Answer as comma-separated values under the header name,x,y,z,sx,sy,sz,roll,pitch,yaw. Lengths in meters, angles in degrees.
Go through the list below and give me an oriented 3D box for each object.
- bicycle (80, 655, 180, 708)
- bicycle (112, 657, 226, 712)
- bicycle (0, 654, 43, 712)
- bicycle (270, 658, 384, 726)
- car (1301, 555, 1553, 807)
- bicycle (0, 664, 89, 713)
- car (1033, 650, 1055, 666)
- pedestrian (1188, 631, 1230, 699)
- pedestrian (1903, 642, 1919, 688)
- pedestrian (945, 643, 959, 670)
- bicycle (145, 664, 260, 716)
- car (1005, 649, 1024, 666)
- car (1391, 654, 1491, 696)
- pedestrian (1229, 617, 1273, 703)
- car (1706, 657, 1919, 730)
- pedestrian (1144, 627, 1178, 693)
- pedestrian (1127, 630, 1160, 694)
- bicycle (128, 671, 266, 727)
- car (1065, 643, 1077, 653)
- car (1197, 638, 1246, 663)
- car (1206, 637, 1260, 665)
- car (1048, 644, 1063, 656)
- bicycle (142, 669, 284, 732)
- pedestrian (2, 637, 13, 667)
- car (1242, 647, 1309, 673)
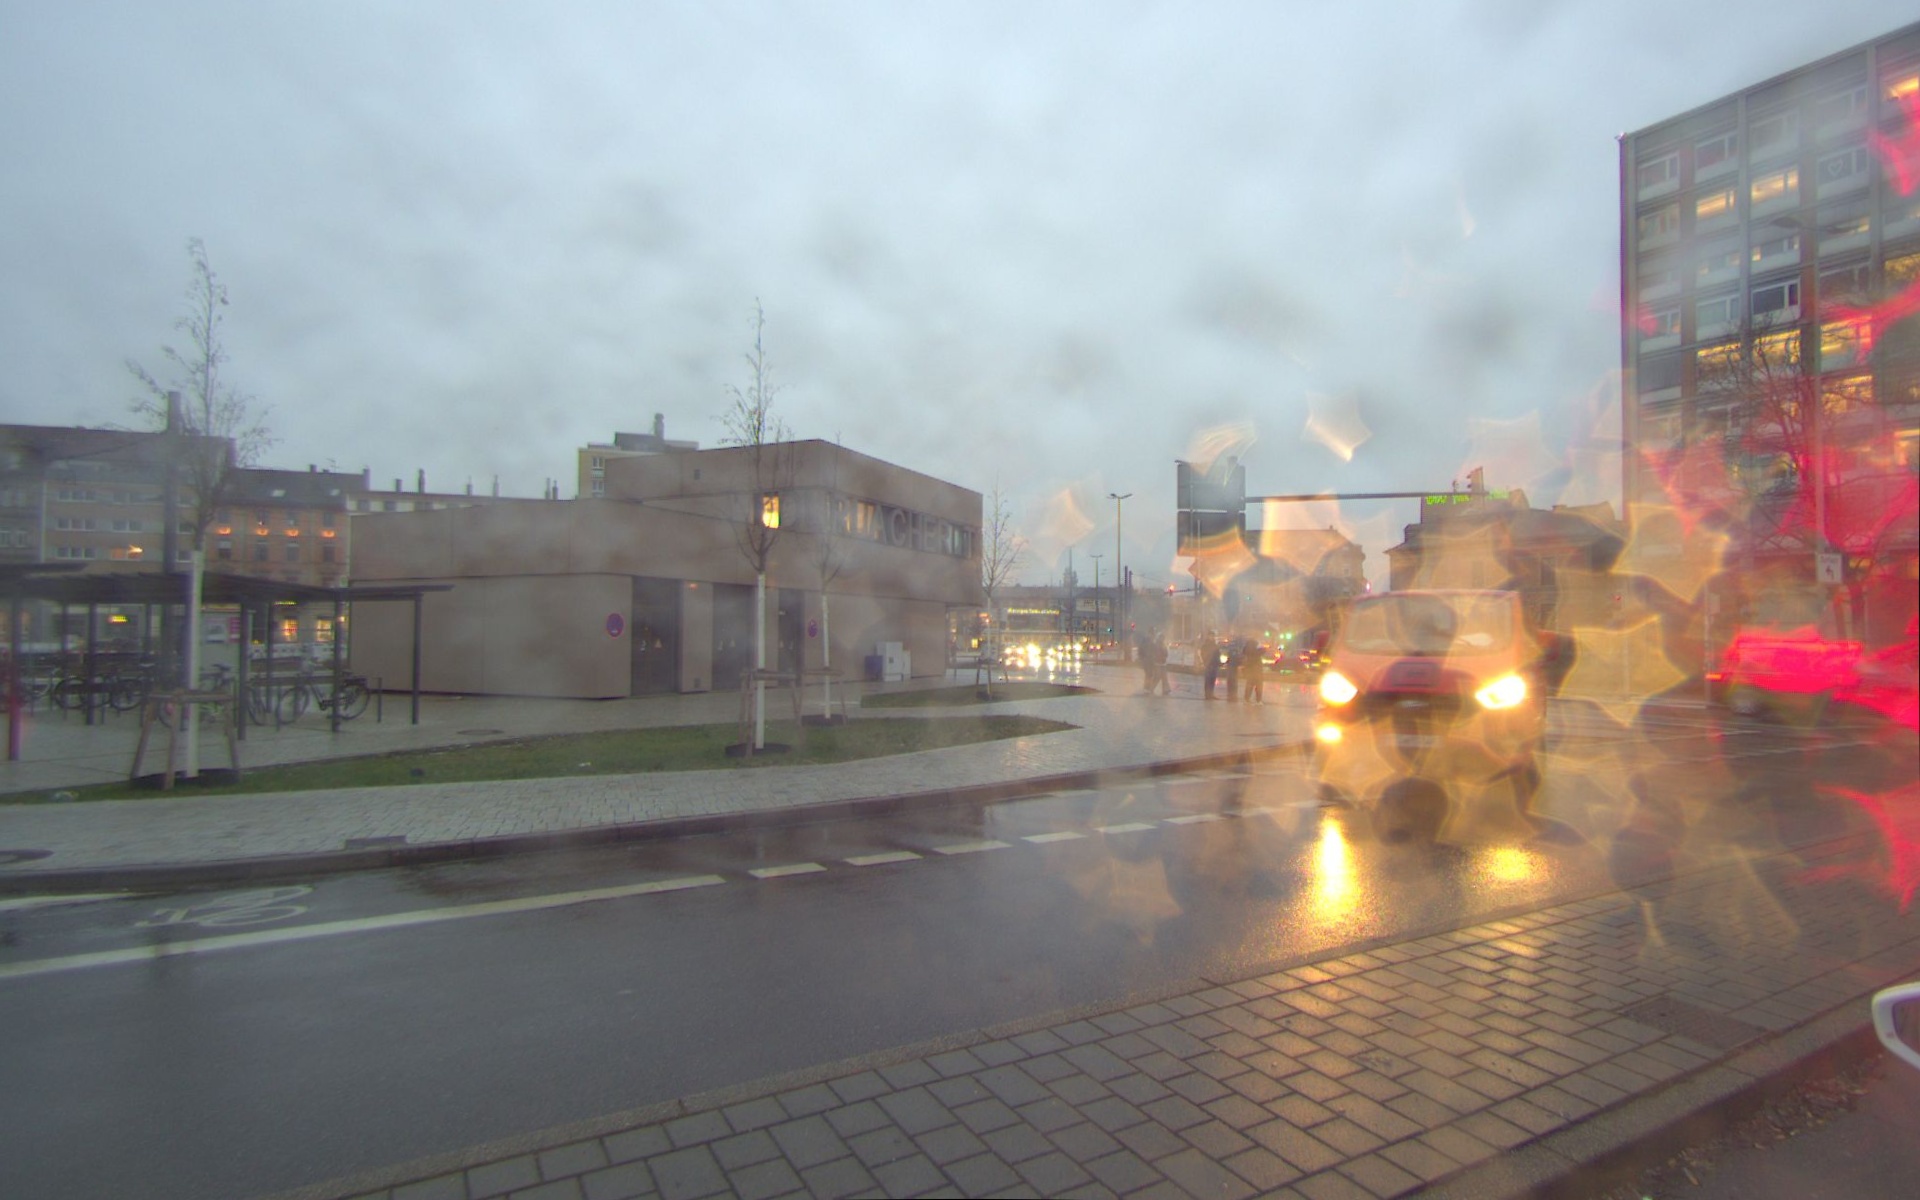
name,x,y,z,sx,sy,sz,roll,pitch,yaw
bicycle,-17.684,1.718,21.433,0.511,1.050,1.574,1,-2,19
bicycle,-16.527,1.744,21.039,0.466,1.087,1.830,1,-2,26
bicycle,-19.391,1.640,19.839,0.466,1.122,1.797,1,-2,29
bicycle,-11.747,1.683,18.719,0.605,1.172,1.755,1,-2,20
car,5.231,0.786,10.858,1.897,2.097,4.634,-2,-3,32
bicycle,-18.506,1.740,19.990,0.466,0.903,1.693,1,-2,24
car,8.332,5.770,99.833,1.775,1.496,4.594,1,-3,1
pedestrian,6.591,1.715,26.628,0.838,1.778,0.659,0,-2,-14
pedestrian,36.051,2.432,37.737,0.626,1.710,0.640,0,-2,-13
pedestrian,-0.603,4.300,76.481,0.741,2.040,0.753,1,-2,-31
bicycle,-15.177,1.786,20.174,0.466,0.968,1.767,1,-2,29
car,5.099,5.393,94.531,1.710,1.467,3.715,-1,-2,1
car,21.491,3.319,45.037,1.798,1.589,3.984,2,0,-18
pedestrian,7.068,1.453,24.391,0.971,2.047,0.802,-1,-2,19
car,18.604,1.892,20.961,1.907,1.319,4.684,2,-3,-16
pedestrian,5.735,1.711,28.684,0.723,1.863,0.674,0,-2,-16
pedestrian,5.181,1.740,28.405,0.731,1.793,0.546,0,-2,-16
bicycle,-13.583,1.745,17.951,0.466,0.903,1.923,1,-2,29
car,16.697,7.257,151.235,1.704,1.529,4.003,-1,-2,7
car,19.394,3.738,74.498,3.321,1.724,1.526,2,0,8
car,19.619,3.671,72.320,3.514,1.850,1.672,2,0,8
car,12.919,6.708,135.677,1.749,1.529,4.003,-1,-2,7
bicycle,-12.933,1.710,17.459,0.466,0.989,1.923,1,-2,29
pedestrian,-65.869,3.593,69.466,0.407,2.040,0.441,0,-2,-22
car,20.092,3.821,63.978,3.741,1.502,1.602,2,0,-1
